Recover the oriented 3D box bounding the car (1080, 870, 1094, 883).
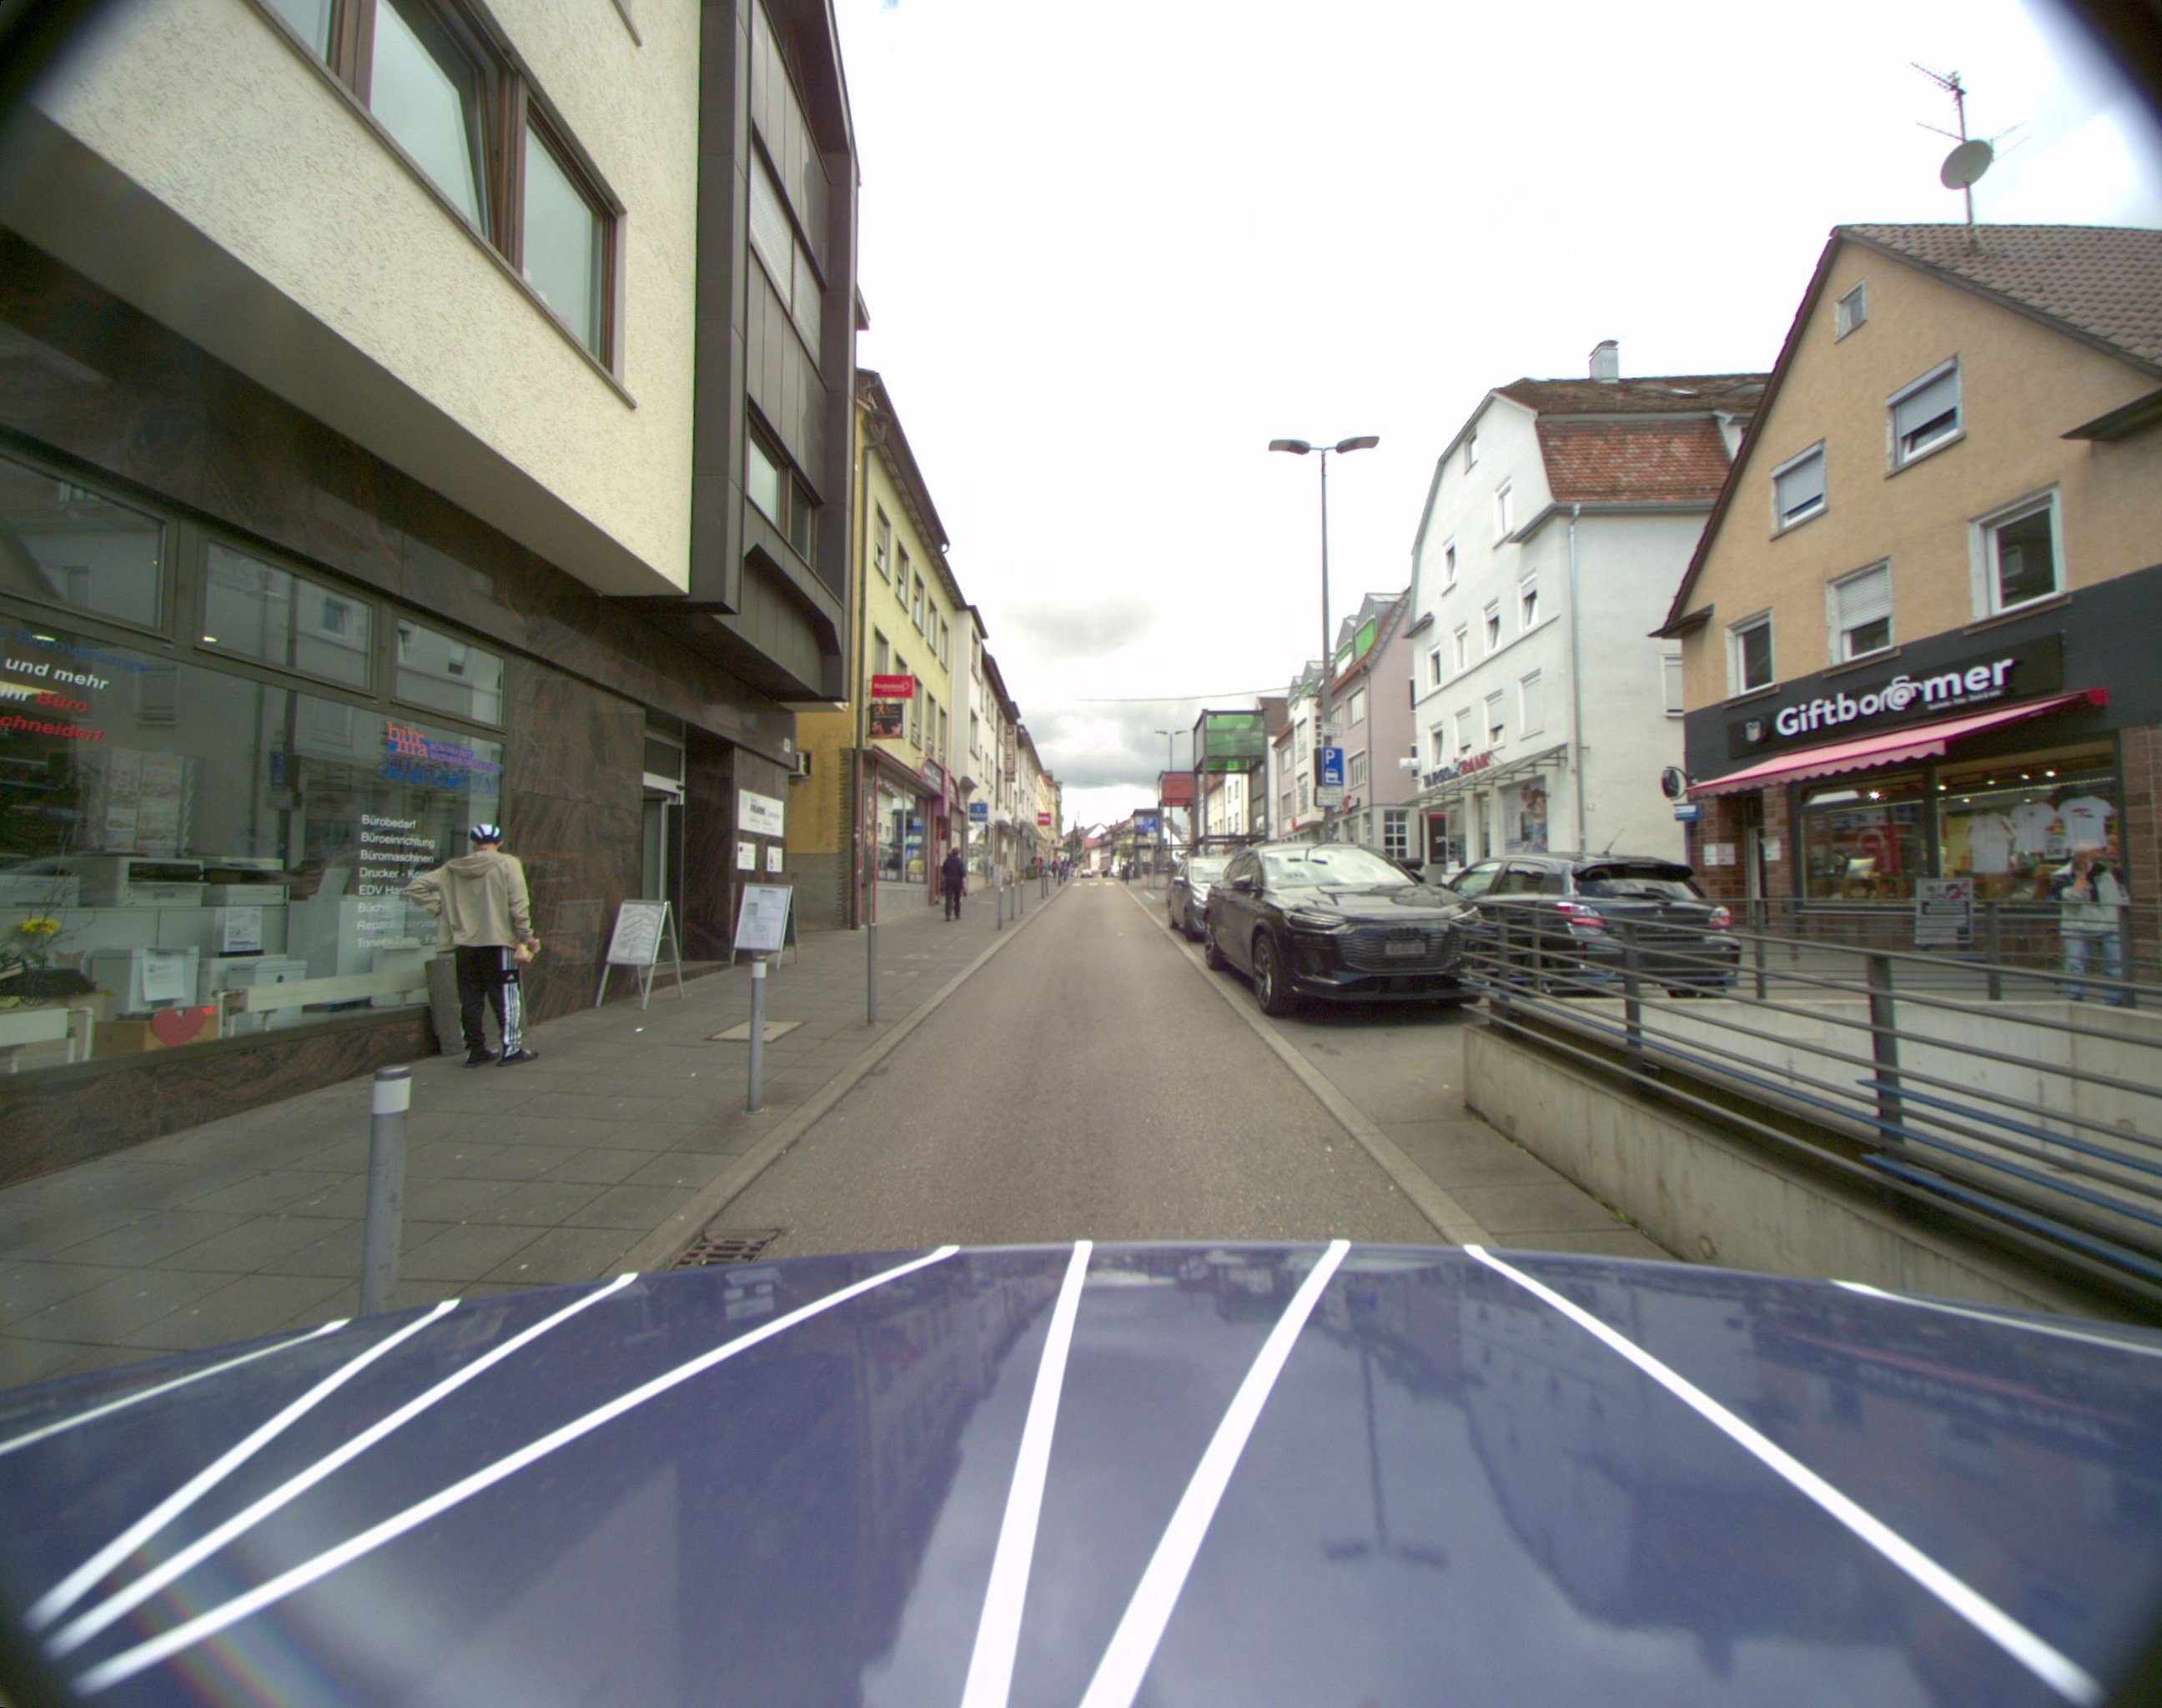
[{"bbox_3d":[0.845,3.111,106.480,1.741,1.608,3.843,-2,0,1],"label":"car"}]

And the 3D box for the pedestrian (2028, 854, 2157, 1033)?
[{"bbox_3d":[10.043,0.845,7.573,0.644,1.679,0.668,0,0,41],"label":"pedestrian"}]

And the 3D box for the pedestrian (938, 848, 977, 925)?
[{"bbox_3d":[-2.856,0.732,17.625,0.713,1.743,0.787,1,1,1],"label":"pedestrian"}]

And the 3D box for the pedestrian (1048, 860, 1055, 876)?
[{"bbox_3d":[-2.967,1.400,76.750,0.627,1.620,0.607,-2,1,-4],"label":"pedestrian"}]

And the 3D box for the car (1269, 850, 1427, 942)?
[{"bbox_3d":[5.176,0.728,15.350,1.743,1.534,4.193,-2,0,1],"label":"car"}]

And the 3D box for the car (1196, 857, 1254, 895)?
[{"bbox_3d":[5.986,0.867,32.017,1.573,1.466,3.855,0,0,-2],"label":"car"}]

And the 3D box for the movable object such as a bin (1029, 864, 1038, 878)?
[{"bbox_3d":[-3.398,1.220,54.184,0.568,0.951,0.498,0,0,1],"label":"movable object such as a bin"}]

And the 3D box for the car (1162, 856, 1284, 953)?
[{"bbox_3d":[2.547,0.845,14.403,1.624,1.523,3.670,-2,0,1],"label":"car"}]

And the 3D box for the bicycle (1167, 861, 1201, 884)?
[{"bbox_3d":[5.518,0.983,40.871,1.782,1.216,0.460,0,1,0],"label":"bicycle"}]

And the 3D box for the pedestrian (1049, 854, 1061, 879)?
[{"bbox_3d":[-1.816,0.865,52.995,0.740,1.660,0.627,2,0,-8],"label":"pedestrian"}]

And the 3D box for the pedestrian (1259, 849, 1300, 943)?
[{"bbox_3d":[3.649,0.756,14.024,0.535,1.662,0.901,-1,0,4],"label":"pedestrian"}]

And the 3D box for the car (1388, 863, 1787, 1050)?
[{"bbox_3d":[5.089,0.894,8.406,1.743,1.467,3.883,3,0,0],"label":"car"}]

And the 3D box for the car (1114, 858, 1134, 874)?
[{"bbox_3d":[4.182,1.191,74.211,1.754,1.452,3.601,-2,0,2],"label":"car"}]

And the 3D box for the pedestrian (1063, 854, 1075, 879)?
[{"bbox_3d":[-0.855,0.873,53.177,0.740,1.660,0.786,2,0,-8],"label":"pedestrian"}]

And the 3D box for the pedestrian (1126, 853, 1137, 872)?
[{"bbox_3d":[4.679,0.811,70.444,0.759,1.715,0.756,3,0,-4],"label":"pedestrian"}]

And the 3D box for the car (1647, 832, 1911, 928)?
[{"bbox_3d":[15.608,0.571,17.190,4.080,1.862,1.884,-3,0,3],"label":"car"}]

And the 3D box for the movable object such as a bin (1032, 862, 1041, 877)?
[{"bbox_3d":[-3.248,1.133,55.508,0.652,1.074,0.673,0,0,1],"label":"movable object such as a bin"}]

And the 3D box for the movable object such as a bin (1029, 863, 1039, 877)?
[{"bbox_3d":[-3.364,1.169,54.787,0.670,1.024,0.560,0,0,1],"label":"movable object such as a bin"}]

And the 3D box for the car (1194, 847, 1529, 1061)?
[{"bbox_3d":[2.550,0.789,8.182,1.961,1.630,4.314,-2,0,0],"label":"car"}]

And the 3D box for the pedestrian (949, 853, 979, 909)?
[{"bbox_3d":[-3.500,0.785,22.777,0.713,1.621,0.835,2,0,1],"label":"pedestrian"}]

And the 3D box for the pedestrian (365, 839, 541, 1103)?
[{"bbox_3d":[-4.235,0.761,5.165,0.665,1.679,0.543,3,0,-5],"label":"pedestrian"}]

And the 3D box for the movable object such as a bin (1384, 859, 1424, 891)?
[{"bbox_3d":[14.035,0.891,33.009,1.286,1.368,1.067,-1,0,1],"label":"movable object such as a bin"}]

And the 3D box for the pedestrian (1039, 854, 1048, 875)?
[{"bbox_3d":[-3.127,0.867,63.381,0.627,1.716,0.607,2,0,-4],"label":"pedestrian"}]

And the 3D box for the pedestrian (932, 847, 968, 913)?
[{"bbox_3d":[-3.575,0.704,20.817,0.713,1.743,0.785,4,0,1],"label":"pedestrian"}]
